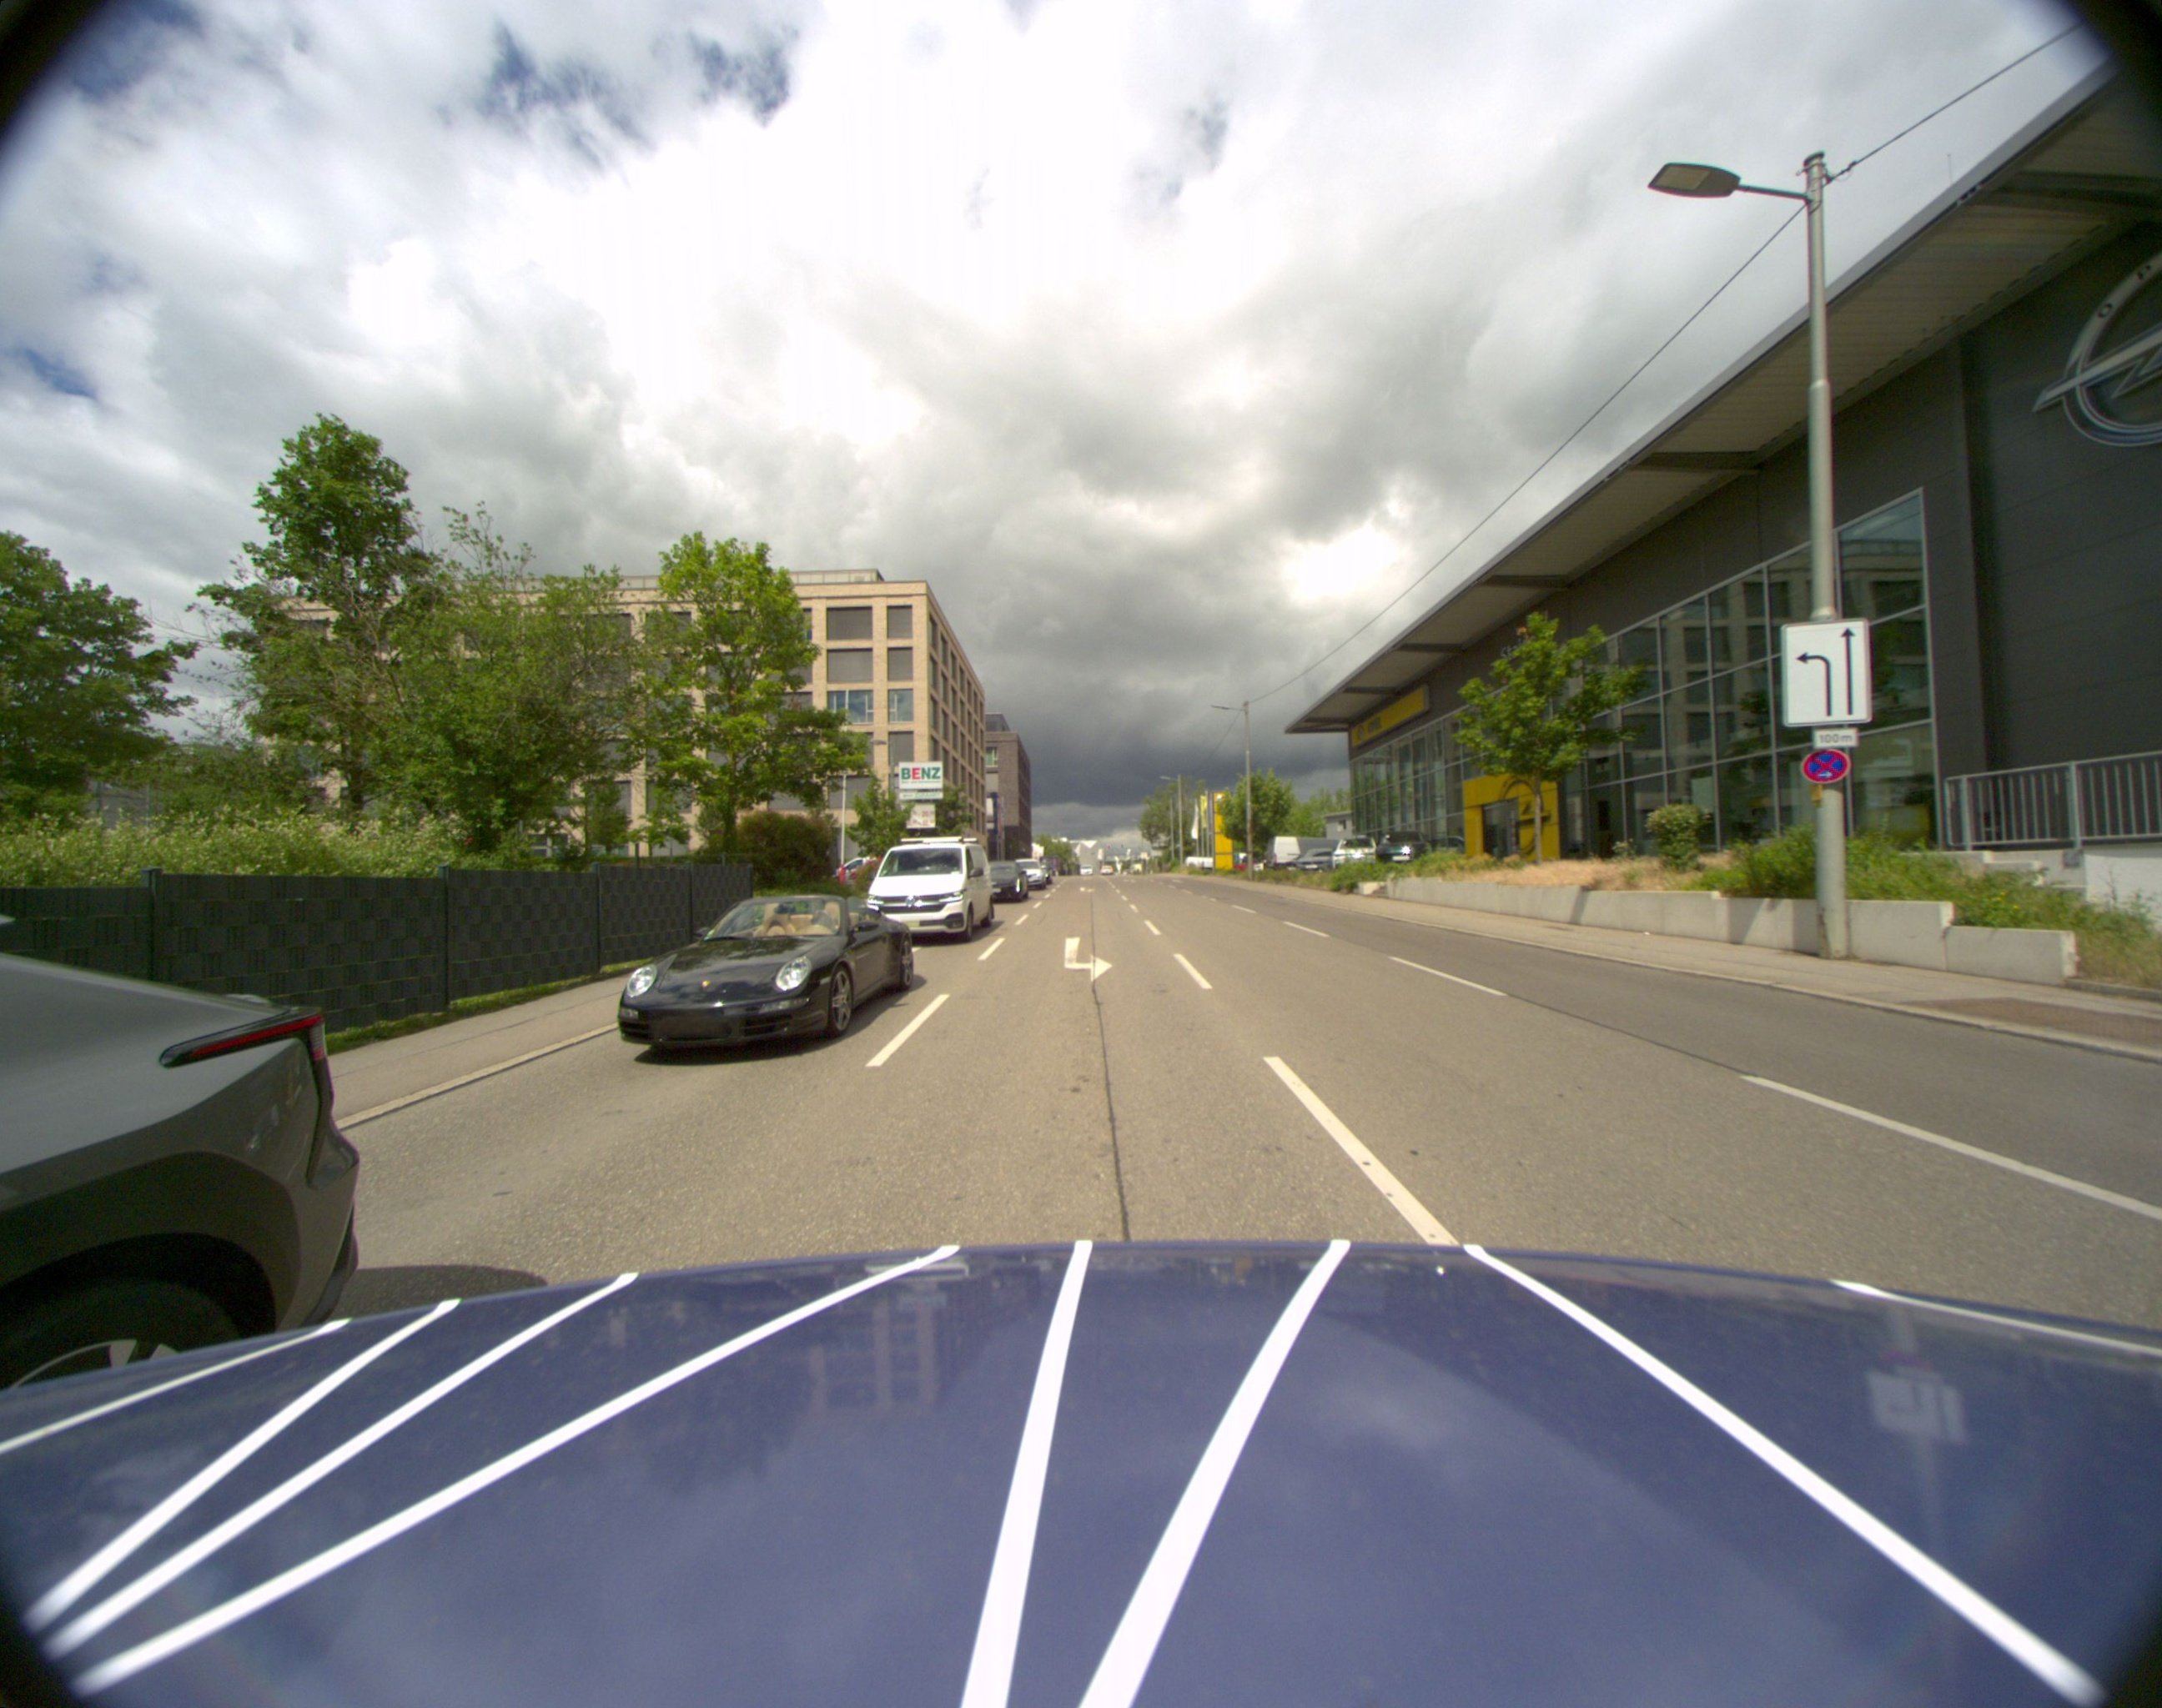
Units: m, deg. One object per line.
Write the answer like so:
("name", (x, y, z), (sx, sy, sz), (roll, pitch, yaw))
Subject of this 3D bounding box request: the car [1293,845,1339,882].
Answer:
("car", (12.111, 0.467, 39.015), (1.995, 1.783, 4.006), (-1, 0, 21))

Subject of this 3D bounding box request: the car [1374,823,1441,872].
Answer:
("car", (12.340, -0.254, 28.931), (1.996, 1.718, 4.005), (-1, 0, 18))

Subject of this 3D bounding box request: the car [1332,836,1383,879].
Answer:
("car", (12.172, 0.127, 33.441), (1.995, 1.783, 4.006), (-1, 0, 21))

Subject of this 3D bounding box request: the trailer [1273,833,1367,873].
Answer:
("trailer", (14.456, -0.070, 46.175), (5.074, 2.336, 2.000), (-1, 1, -1))

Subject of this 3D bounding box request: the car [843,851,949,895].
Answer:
("car", (-7.624, 0.752, 31.654), (3.998, 1.723, 1.822), (-1, 1, -3))

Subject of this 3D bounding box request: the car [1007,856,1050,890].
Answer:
("car", (-2.588, 0.894, 38.430), (1.818, 1.577, 4.000), (-1, 0, 1))

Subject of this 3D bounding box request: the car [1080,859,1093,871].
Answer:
("car", (0.906, 1.795, 123.536), (1.998, 1.819, 4.547), (-2, 0, 2))

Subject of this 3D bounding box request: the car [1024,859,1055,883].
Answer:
("car", (-2.519, 1.023, 47.012), (1.662, 1.351, 4.000), (-1, 0, 1))

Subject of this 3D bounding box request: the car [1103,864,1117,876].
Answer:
("car", (4.491, 2.461, 116.808), (1.998, 1.731, 4.547), (-2, 0, 1))

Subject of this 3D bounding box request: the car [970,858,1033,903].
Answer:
("car", (-2.825, 0.912, 27.889), (1.818, 1.454, 4.000), (-1, 0, 1))

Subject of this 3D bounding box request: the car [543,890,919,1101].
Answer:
("car", (-3.036, 1.152, 7.674), (1.824, 1.286, 4.038), (-2, 0, 1))

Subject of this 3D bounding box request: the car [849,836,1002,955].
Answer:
("car", (-3.013, 0.732, 15.891), (2.089, 2.037, 4.760), (-2, 0, 1))
